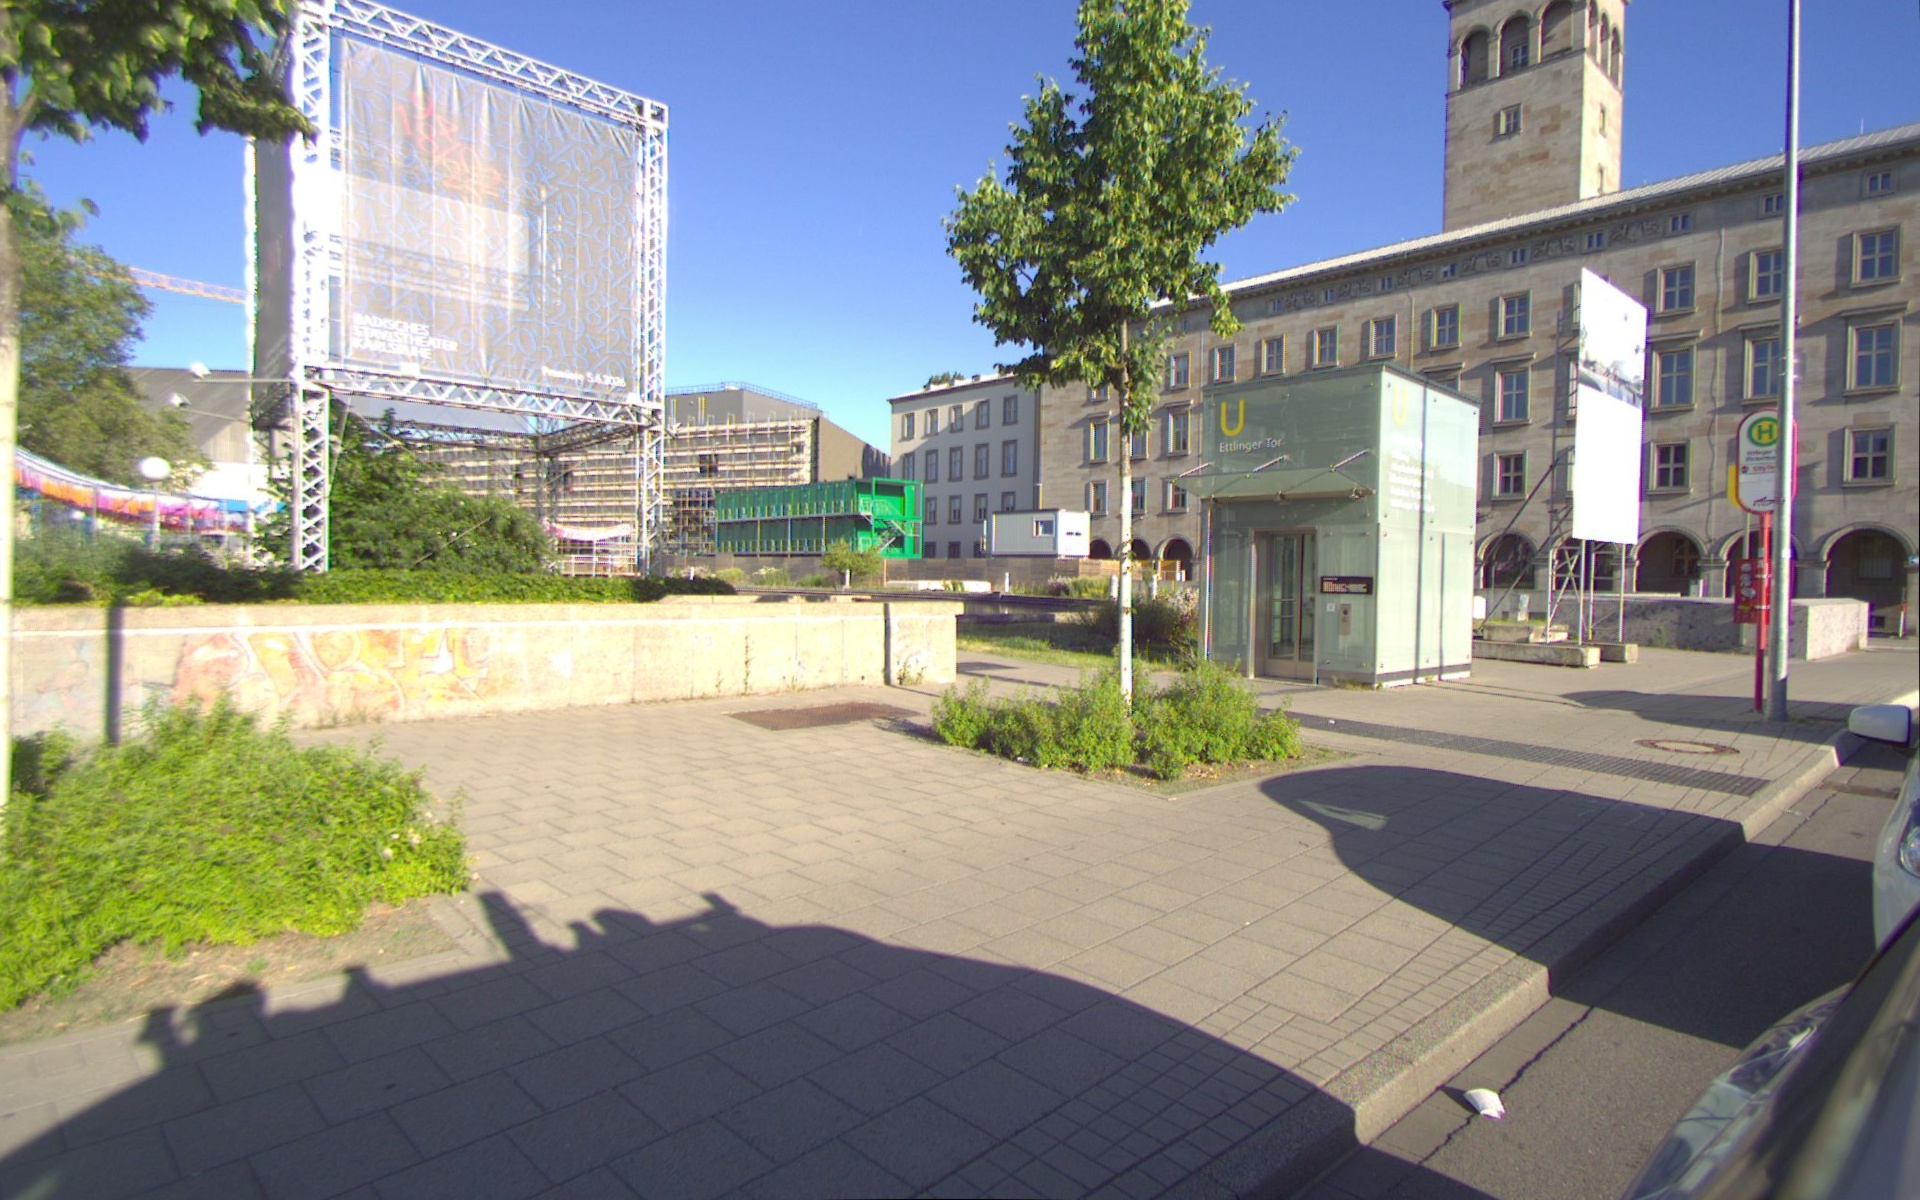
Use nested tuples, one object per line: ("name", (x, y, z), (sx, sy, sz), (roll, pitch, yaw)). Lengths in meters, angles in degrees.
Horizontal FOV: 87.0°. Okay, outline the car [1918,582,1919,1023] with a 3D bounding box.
("car", (5.040, 0.704, 3.992), (3.541, 1.504, 1.495), (0, 0, -41))
